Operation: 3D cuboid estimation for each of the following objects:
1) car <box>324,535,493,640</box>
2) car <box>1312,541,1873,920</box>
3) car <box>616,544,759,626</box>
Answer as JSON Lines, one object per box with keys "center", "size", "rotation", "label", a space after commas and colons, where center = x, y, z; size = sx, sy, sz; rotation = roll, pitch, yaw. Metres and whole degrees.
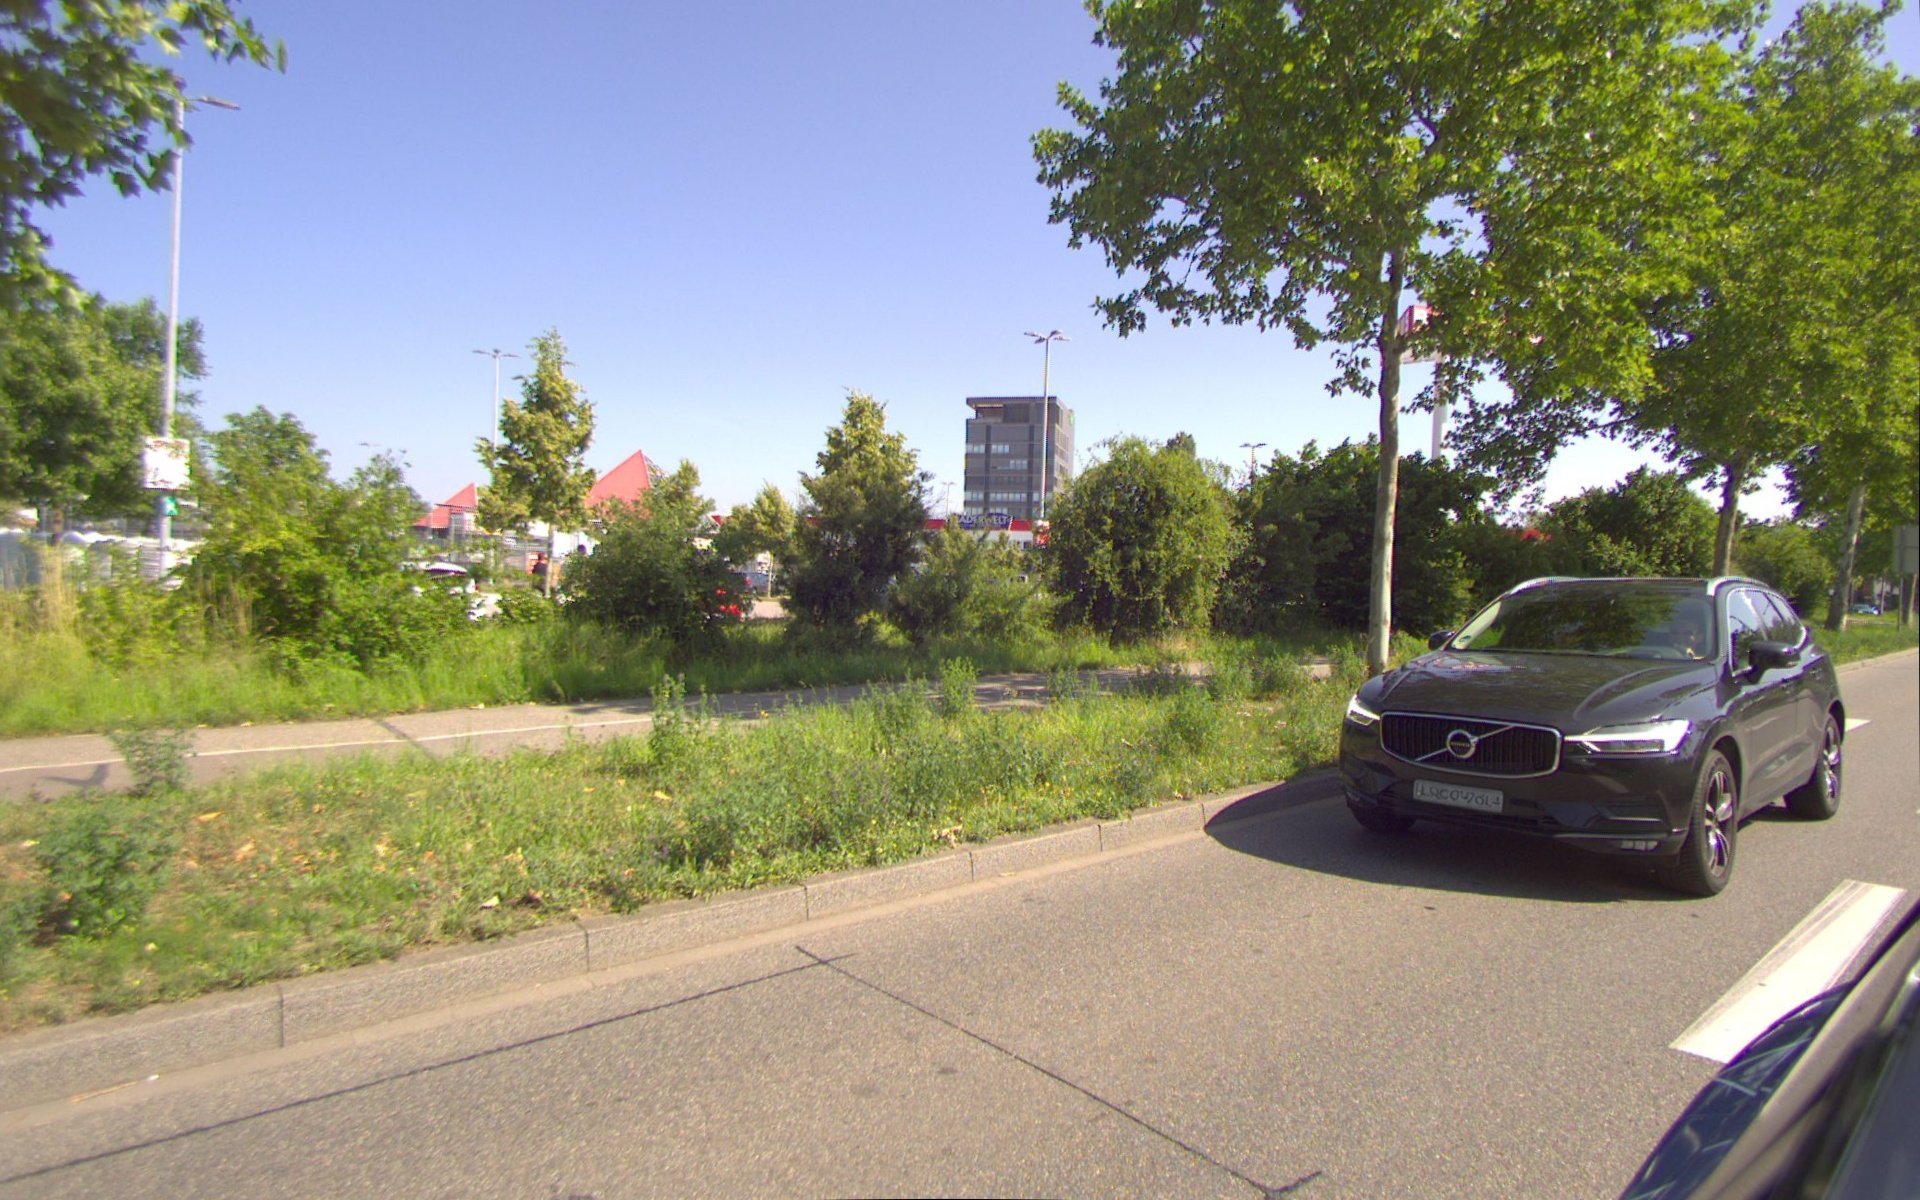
{"center": [-10.580, -0.246, 19.300], "size": [3.987, 1.794, 1.725], "rotation": [1, 1, 44], "label": "car"}
{"center": [4.339, 0.535, 6.607], "size": [4.486, 1.642, 1.922], "rotation": [-1, 1, -42], "label": "car"}
{"center": [-6.248, -0.340, 22.968], "size": [1.658, 1.691, 3.828], "rotation": [0, 1, -41], "label": "car"}
